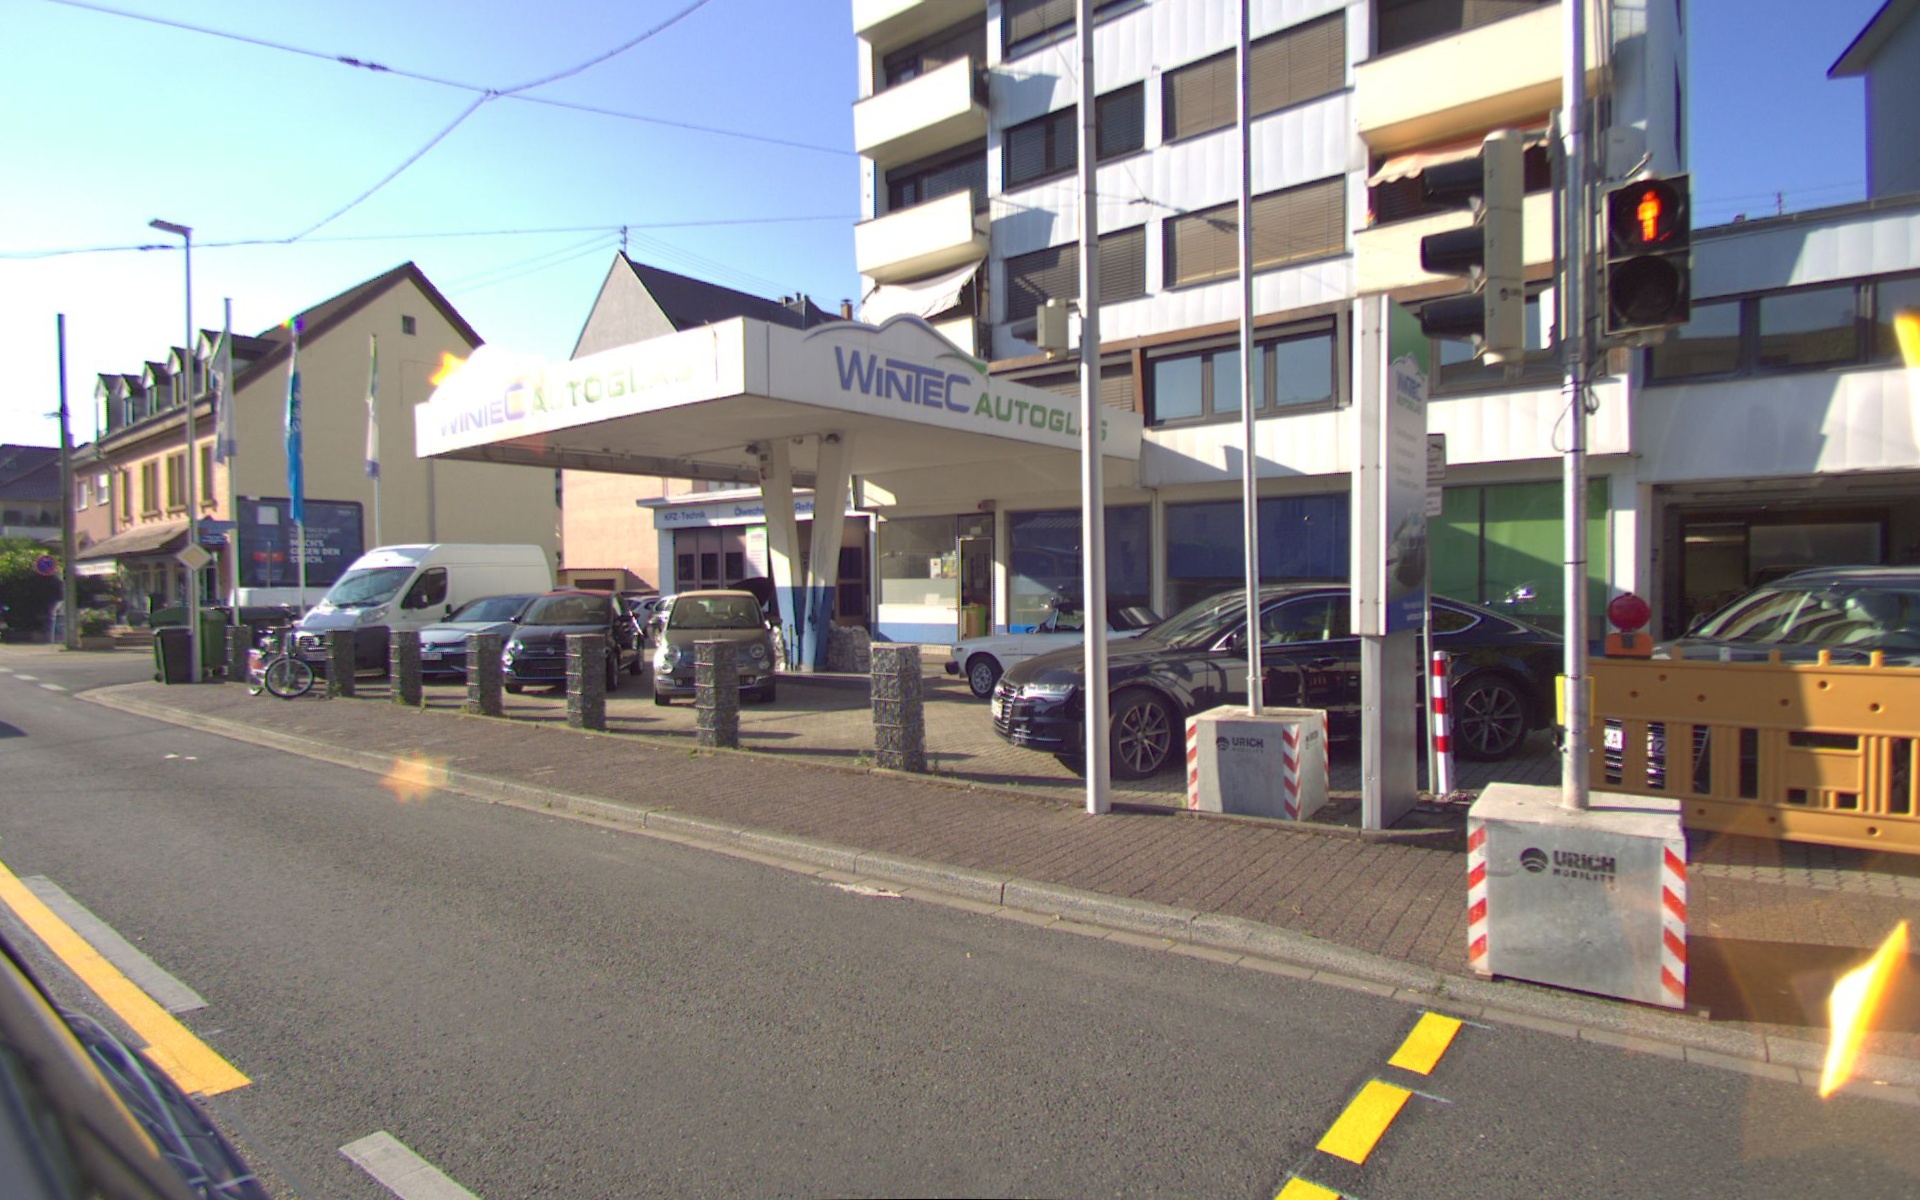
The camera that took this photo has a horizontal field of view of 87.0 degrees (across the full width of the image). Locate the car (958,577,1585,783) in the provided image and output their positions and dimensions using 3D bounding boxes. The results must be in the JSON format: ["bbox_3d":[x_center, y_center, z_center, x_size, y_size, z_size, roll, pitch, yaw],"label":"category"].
[{"bbox_3d":[2.426,0.568,8.498,4.614,1.449,1.936,0,-1,-9],"label":"car"}]

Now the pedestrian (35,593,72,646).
[{"bbox_3d":[-30.397,0.647,33.927,0.858,1.726,0.799,0,0,39],"label":"pedestrian"}]

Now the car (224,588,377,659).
[{"bbox_3d":[-19.889,0.658,30.631,1.449,2.029,3.629,0,0,37],"label":"car"}]

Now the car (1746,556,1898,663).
[{"bbox_3d":[14.739,0.097,17.240,3.699,1.620,1.574,-2,1,-43],"label":"car"}]

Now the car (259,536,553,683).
[{"bbox_3d":[-10.514,0.136,19.745,2.097,2.472,4.964,-1,1,17],"label":"car"}]

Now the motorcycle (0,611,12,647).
[{"bbox_3d":[-34.041,1.028,35.688,2.186,1.226,0.699,0,0,42],"label":"motorcycle"}]

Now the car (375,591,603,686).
[{"bbox_3d":[-8.340,0.609,18.361,1.724,1.508,4.017,-1,1,11],"label":"car"}]

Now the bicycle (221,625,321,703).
[{"bbox_3d":[-10.663,0.957,15.642,1.788,1.094,0.717,-1,1,37],"label":"bicycle"}]

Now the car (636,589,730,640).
[{"bbox_3d":[-11.346,0.559,41.676,1.449,2.029,3.629,0,0,37],"label":"car"}]

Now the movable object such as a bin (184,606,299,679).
[{"bbox_3d":[-15.439,0.885,21.816,1.038,1.475,1.788,0,0,14],"label":"movable object such as a bin"}]

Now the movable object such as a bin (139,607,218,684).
[{"bbox_3d":[-15.543,0.891,20.158,1.030,1.475,0.798,0,0,-19],"label":"movable object such as a bin"}]

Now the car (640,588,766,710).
[{"bbox_3d":[-3.595,0.595,14.424,1.516,1.497,3.382,-1,1,-12],"label":"car"}]

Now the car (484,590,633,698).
[{"bbox_3d":[-6.256,0.604,16.097,1.569,1.508,3.444,-1,1,-11],"label":"car"}]

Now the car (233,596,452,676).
[{"bbox_3d":[-12.918,0.689,21.494,1.724,1.488,4.017,-1,1,11],"label":"car"}]

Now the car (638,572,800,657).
[{"bbox_3d":[-6.123,0.334,25.513,4.254,1.958,1.720,0,1,39],"label":"car"}]

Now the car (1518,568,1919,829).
[{"bbox_3d":[6.003,0.546,6.712,3.822,1.449,1.599,0,-1,-9],"label":"car"}]

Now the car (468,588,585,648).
[{"bbox_3d":[-15.501,0.607,36.326,1.449,2.029,3.629,0,0,37],"label":"car"}]

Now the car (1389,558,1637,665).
[{"bbox_3d":[9.662,0.187,17.784,3.625,1.686,1.702,0,0,37],"label":"car"}]

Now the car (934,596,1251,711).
[{"bbox_3d":[1.654,0.635,13.284,3.897,1.308,1.507,-1,-1,36],"label":"car"}]

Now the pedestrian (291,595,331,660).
[{"bbox_3d":[-19.079,0.791,29.749,0.822,1.866,0.757,0,0,38],"label":"pedestrian"}]
